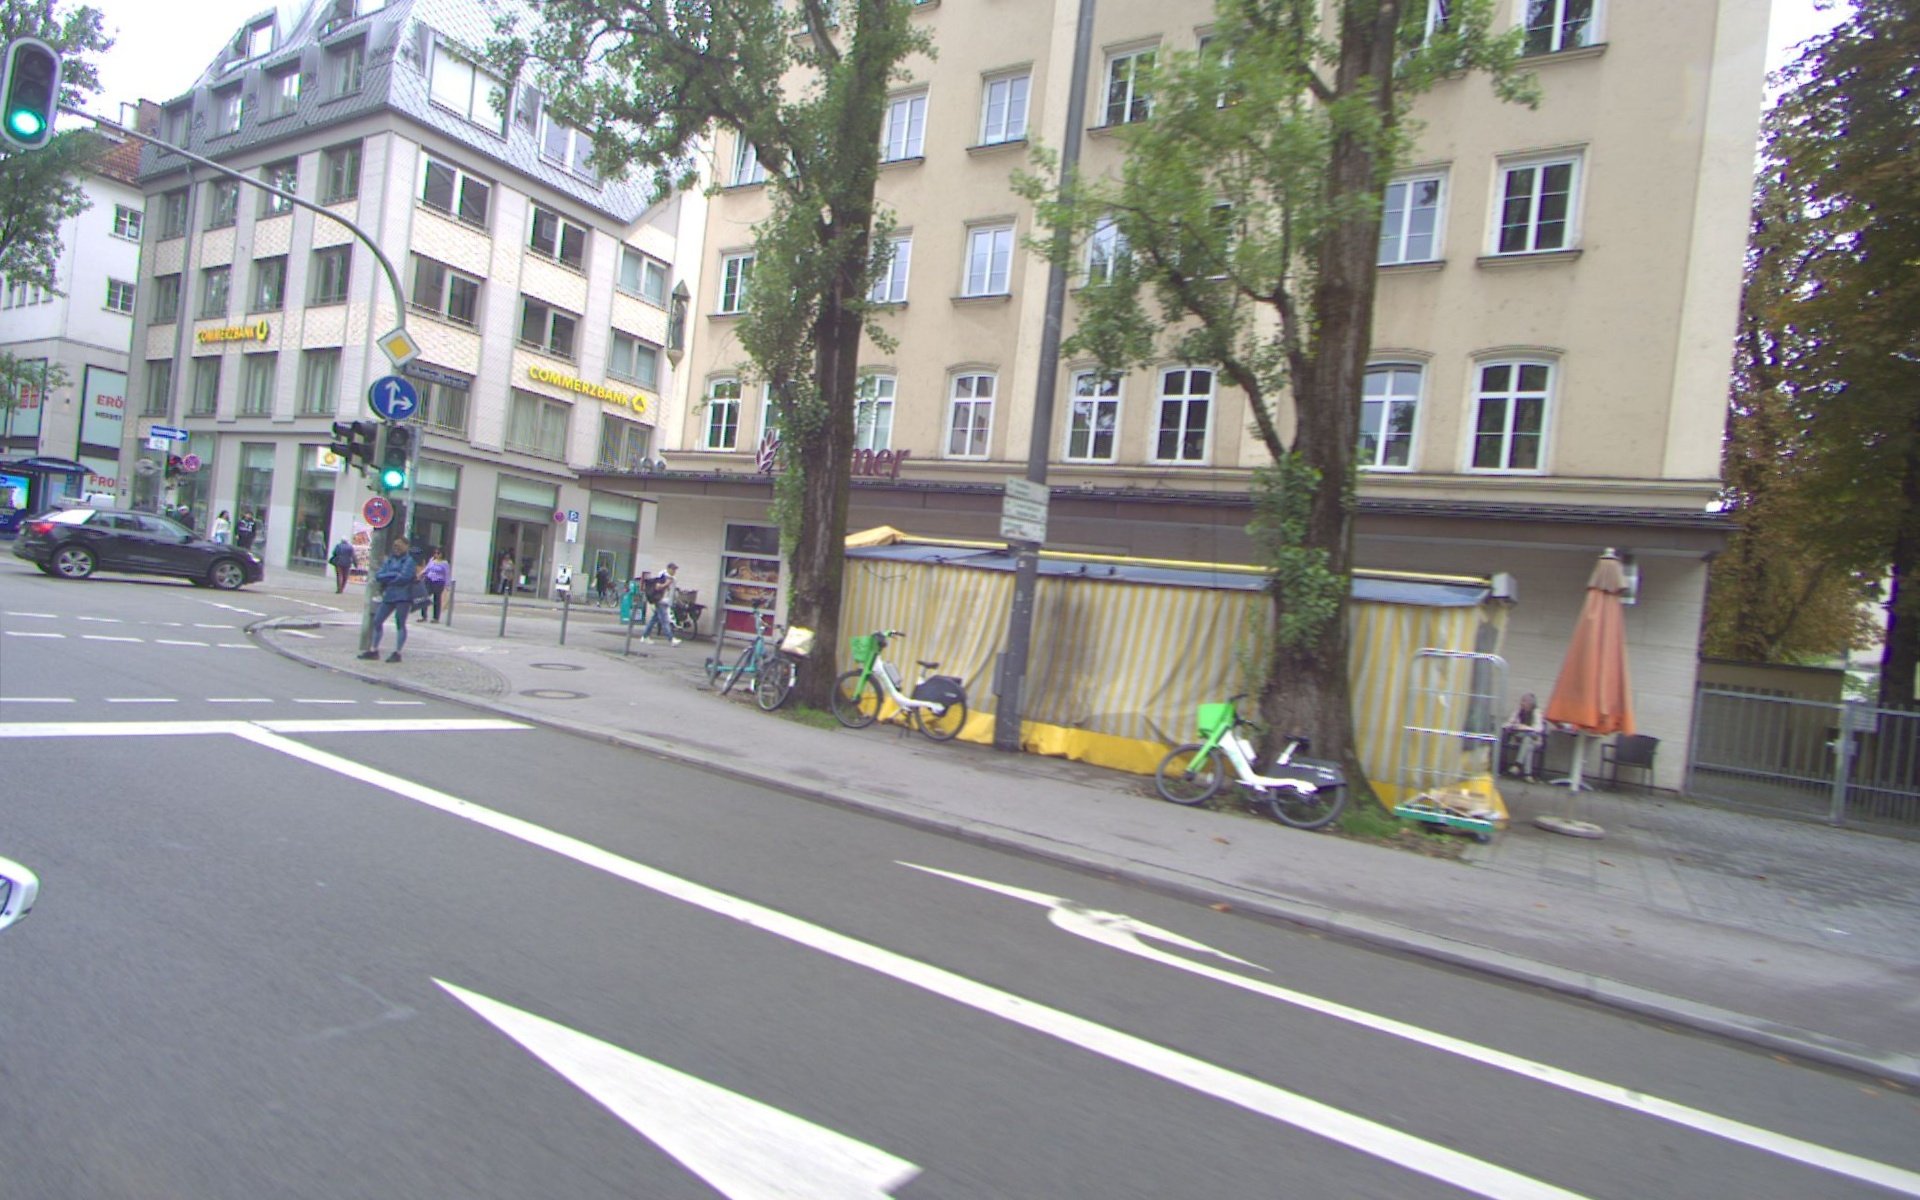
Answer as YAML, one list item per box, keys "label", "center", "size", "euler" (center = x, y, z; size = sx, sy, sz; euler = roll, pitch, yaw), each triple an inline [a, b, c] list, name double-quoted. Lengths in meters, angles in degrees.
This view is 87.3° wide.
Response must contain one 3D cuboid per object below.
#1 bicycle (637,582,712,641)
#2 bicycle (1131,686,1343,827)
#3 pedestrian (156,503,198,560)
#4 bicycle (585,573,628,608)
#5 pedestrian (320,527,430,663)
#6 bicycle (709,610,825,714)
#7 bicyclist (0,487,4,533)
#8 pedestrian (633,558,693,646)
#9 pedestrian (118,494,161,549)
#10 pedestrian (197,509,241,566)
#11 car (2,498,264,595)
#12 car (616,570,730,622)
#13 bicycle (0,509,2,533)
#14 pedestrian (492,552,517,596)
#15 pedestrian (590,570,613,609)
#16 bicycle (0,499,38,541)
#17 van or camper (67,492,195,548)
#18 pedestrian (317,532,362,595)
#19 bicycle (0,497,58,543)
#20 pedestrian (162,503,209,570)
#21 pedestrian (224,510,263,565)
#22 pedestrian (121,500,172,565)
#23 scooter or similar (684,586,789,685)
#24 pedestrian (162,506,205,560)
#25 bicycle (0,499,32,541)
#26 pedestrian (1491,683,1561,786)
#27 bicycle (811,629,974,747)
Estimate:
- label: "bicycle"
  center: [-6.633, 0.259, 23.320]
  size: [1.781, 1.184, 0.435]
  euler: [6, -1, 30]
- label: "bicycle"
  center: [2.568, 1.420, 9.411]
  size: [1.740, 0.987, 0.509]
  euler: [7, 0, 30]
- label: "pedestrian"
  center: [-25.782, -2.258, 33.141]
  size: [0.845, 1.779, 0.750]
  euler: [5, 0, 33]
- label: "bicycle"
  center: [-13.976, -0.356, 39.824]
  size: [0.440, 1.227, 1.743]
  euler: [7, 0, 21]
- label: "pedestrian"
  center: [-7.581, -0.052, 13.056]
  size: [0.849, 1.630, 0.767]
  euler: [7, 1, 27]
- label: "bicycle"
  center: [-2.487, 0.757, 12.791]
  size: [0.404, 1.081, 1.790]
  euler: [13, -5, -42]
- label: "bicyclist"
  center: [-25.451, -2.184, 26.205]
  size: [0.385, 1.608, 0.622]
  euler: [7, 1, 31]
- label: "pedestrian"
  center: [-6.142, 0.036, 20.795]
  size: [0.847, 1.723, 0.665]
  euler: [5, 0, 33]
- label: "pedestrian"
  center: [-27.722, -2.640, 33.983]
  size: [0.947, 1.698, 0.750]
  euler: [7, 1, 33]
- label: "pedestrian"
  center: [-24.858, -2.101, 33.764]
  size: [1.000, 1.780, 0.750]
  euler: [7, 1, 33]
- label: "car"
  center: [-17.523, -1.094, 21.477]
  size: [1.733, 1.479, 3.985]
  euler: [7, 0, 38]
- label: "car"
  center: [-10.972, -0.118, 38.706]
  size: [1.730, 1.568, 3.991]
  euler: [7, 0, 32]
- label: "bicycle"
  center: [-26.277, -1.948, 26.682]
  size: [2.225, 1.100, 0.627]
  euler: [7, 1, 31]
- label: "pedestrian"
  center: [-17.047, -0.968, 37.670]
  size: [0.574, 1.550, 0.444]
  euler: [7, 1, 28]
- label: "pedestrian"
  center: [-13.914, -0.421, 39.026]
  size: [0.574, 1.423, 0.444]
  euler: [7, 1, 28]
- label: "bicycle"
  center: [-31.572, -2.696, 32.663]
  size: [0.469, 1.268, 2.318]
  euler: [7, 0, 31]
- label: "van or camper"
  center: [-38.300, -3.670, 46.587]
  size: [1.868, 1.888, 4.108]
  euler: [6, -2, 35]
- label: "pedestrian"
  center: [-17.292, -1.013, 28.026]
  size: [0.722, 1.657, 0.750]
  euler: [5, 1, 34]
- label: "bicycle"
  center: [-30.336, -2.610, 32.064]
  size: [2.226, 1.268, 0.473]
  euler: [7, 0, -35]
- label: "pedestrian"
  center: [-21.974, -1.798, 28.548]
  size: [0.740, 1.780, 0.709]
  euler: [7, 1, 33]
- label: "pedestrian"
  center: [-24.633, -2.139, 34.590]
  size: [0.699, 1.779, 0.750]
  euler: [7, 0, 33]
- label: "pedestrian"
  center: [-24.951, -2.071, 30.842]
  size: [0.875, 1.840, 0.819]
  euler: [7, 0, 30]
- label: "scooter or similar"
  center: [-3.277, 0.514, 14.748]
  size: [1.345, 1.259, 0.408]
  euler: [7, 1, 15]
- label: "pedestrian"
  center: [-26.666, -2.299, 34.548]
  size: [0.947, 1.739, 0.750]
  euler: [7, 1, 33]
- label: "bicycle"
  center: [-32.100, -2.744, 32.951]
  size: [0.622, 1.268, 2.346]
  euler: [7, 0, 31]
- label: "pedestrian"
  center: [7.822, 1.833, 13.896]
  size: [0.688, 1.280, 0.776]
  euler: [7, 0, 32]
- label: "bicycle"
  center: [-0.773, 0.967, 11.318]
  size: [1.740, 1.061, 0.509]
  euler: [7, 1, 30]
